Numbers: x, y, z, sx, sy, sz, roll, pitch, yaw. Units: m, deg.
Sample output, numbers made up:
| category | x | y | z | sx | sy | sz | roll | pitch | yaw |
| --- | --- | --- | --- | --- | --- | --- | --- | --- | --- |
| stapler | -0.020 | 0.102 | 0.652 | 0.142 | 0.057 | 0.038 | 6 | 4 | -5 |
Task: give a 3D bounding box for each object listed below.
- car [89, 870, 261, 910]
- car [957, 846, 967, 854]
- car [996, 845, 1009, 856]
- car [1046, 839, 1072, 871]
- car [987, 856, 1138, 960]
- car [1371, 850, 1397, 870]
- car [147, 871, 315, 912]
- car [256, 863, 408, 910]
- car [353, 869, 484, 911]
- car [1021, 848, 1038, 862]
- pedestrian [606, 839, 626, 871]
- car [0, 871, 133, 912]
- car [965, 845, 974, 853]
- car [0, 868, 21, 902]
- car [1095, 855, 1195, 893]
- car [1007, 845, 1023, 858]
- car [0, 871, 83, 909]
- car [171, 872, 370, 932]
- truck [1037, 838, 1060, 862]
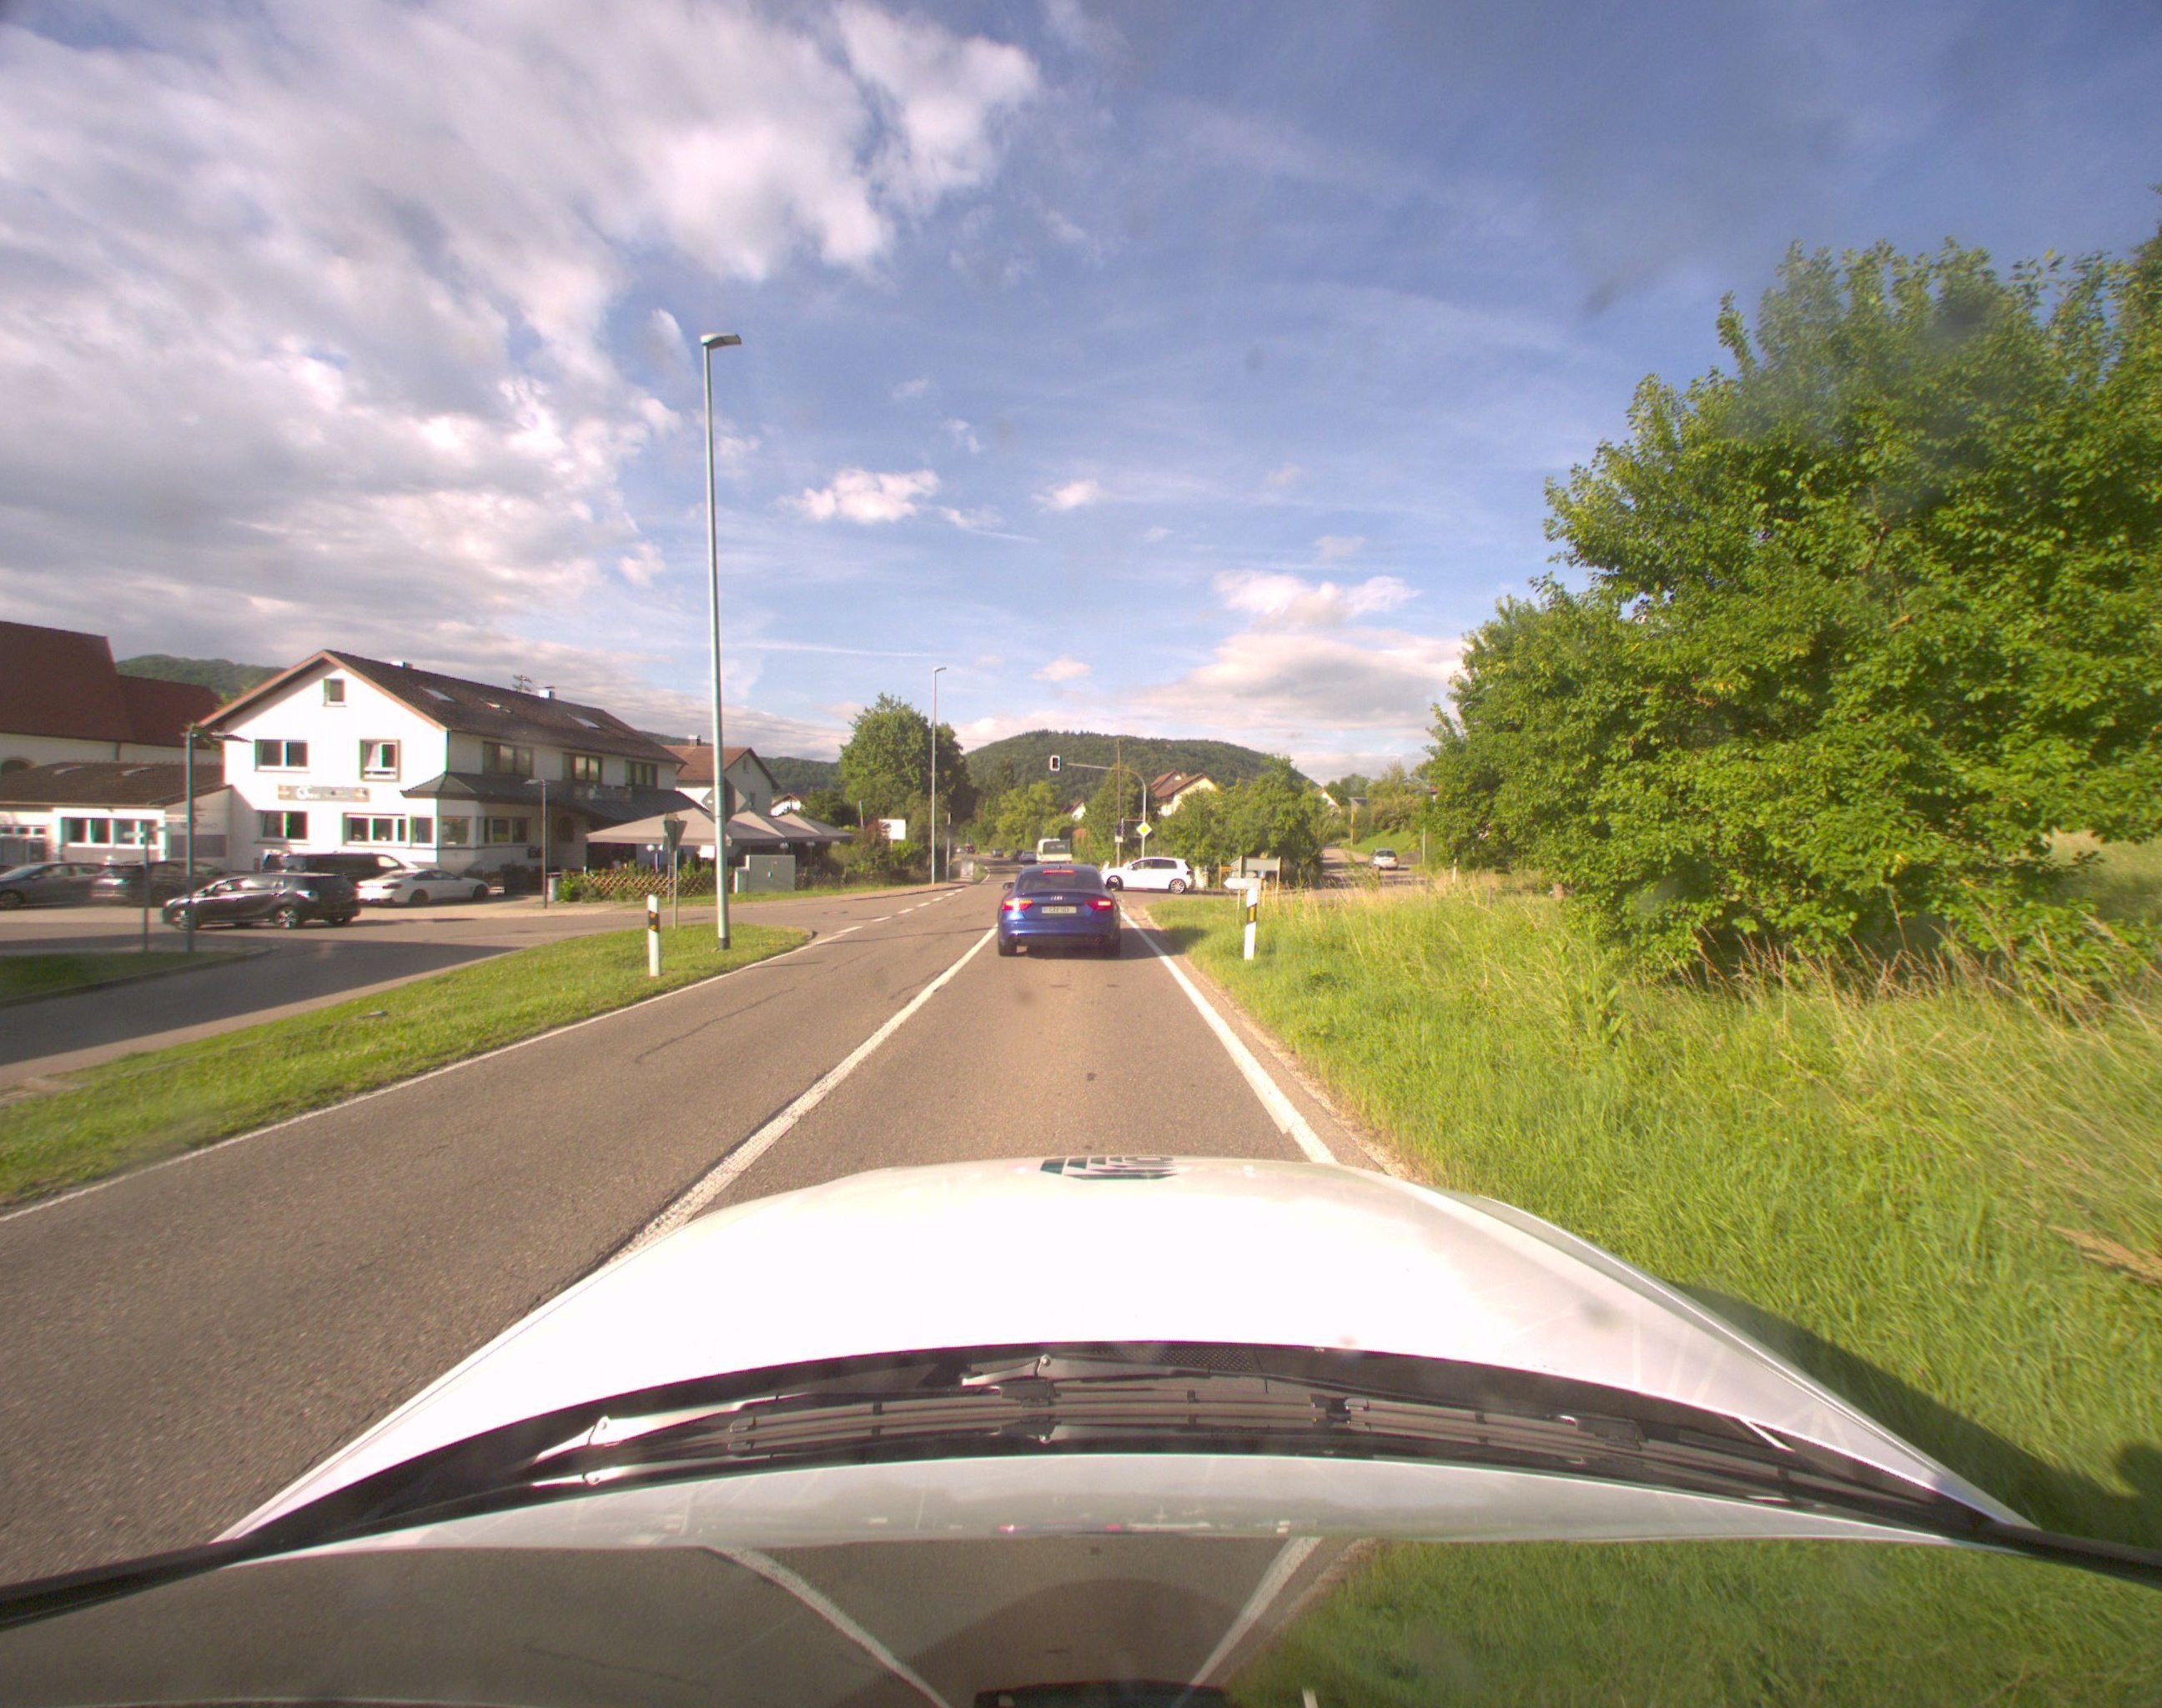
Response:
| category | x | y | z | sx | sy | sz | roll | pitch | yaw |
| --- | --- | --- | --- | --- | --- | --- | --- | --- | --- |
| car | -33.564 | 1.300 | 30.351 | 1.834 | 1.354 | 4.002 | -1 | -1 | 3 |
| car | -24.380 | -0.817 | 166.471 | 1.685 | 1.438 | 3.666 | -1 | -1 | -4 |
| car | -12.079 | -0.483 | 125.840 | 1.817 | 1.574 | 3.997 | -1 | -1 | -2 |
| car | -1.567 | 0.105 | 59.258 | 1.741 | 2.195 | 3.998 | -1 | -1 | -1 |
| car | -0.128 | 0.771 | 13.203 | 1.785 | 1.388 | 4.009 | -2 | -1 | 8 |
| car | 22.087 | 0.416 | 59.415 | 1.610 | 1.390 | 4.018 | -1 | -1 | 18 |
| car | -31.060 | 1.340 | 29.951 | 1.834 | 1.354 | 4.002 | -1 | -1 | 3 |
| car | -28.062 | 1.177 | 30.701 | 1.879 | 1.662 | 4.003 | -1 | -1 | 3 |
| car | -25.121 | 1.315 | 31.080 | 1.549 | 1.450 | 4.003 | -1 | -1 | 3 |
| car | -5.756 | 0.149 | 90.892 | 1.695 | 1.490 | 3.519 | 0 | -1 | -6 |
| pedestrian | -22.288 | 0.044 | 39.007 | 0.606 | 1.503 | 0.590 | -1 | -1 | 3 |
| car | -37.018 | 1.290 | 28.925 | 1.833 | 1.354 | 4.005 | -1 | -1 | 4 |
| car | -21.355 | -0.976 | 156.623 | 1.624 | 1.576 | 3.671 | 0 | -1 | -6 |
| car | -43.330 | 1.209 | 30.503 | 1.833 | 1.354 | 4.005 | -1 | -1 | 4 |
| car | 2.712 | 0.837 | 34.024 | 4.020 | 1.508 | 1.860 | -1 | -1 | 9 |
| car | -8.316 | -0.286 | 102.518 | 1.697 | 1.490 | 3.515 | 0 | -1 | -9 |
| car | -39.931 | 1.331 | 29.753 | 1.833 | 1.354 | 4.005 | -1 | -1 | 4 |
| car | -23.688 | 1.373 | 23.918 | 3.977 | 1.639 | 1.750 | -1 | -1 | -3 |
| truck | -2.926 | -0.316 | 72.402 | 1.695 | 1.953 | 5.910 | 0 | -1 | -6 |
